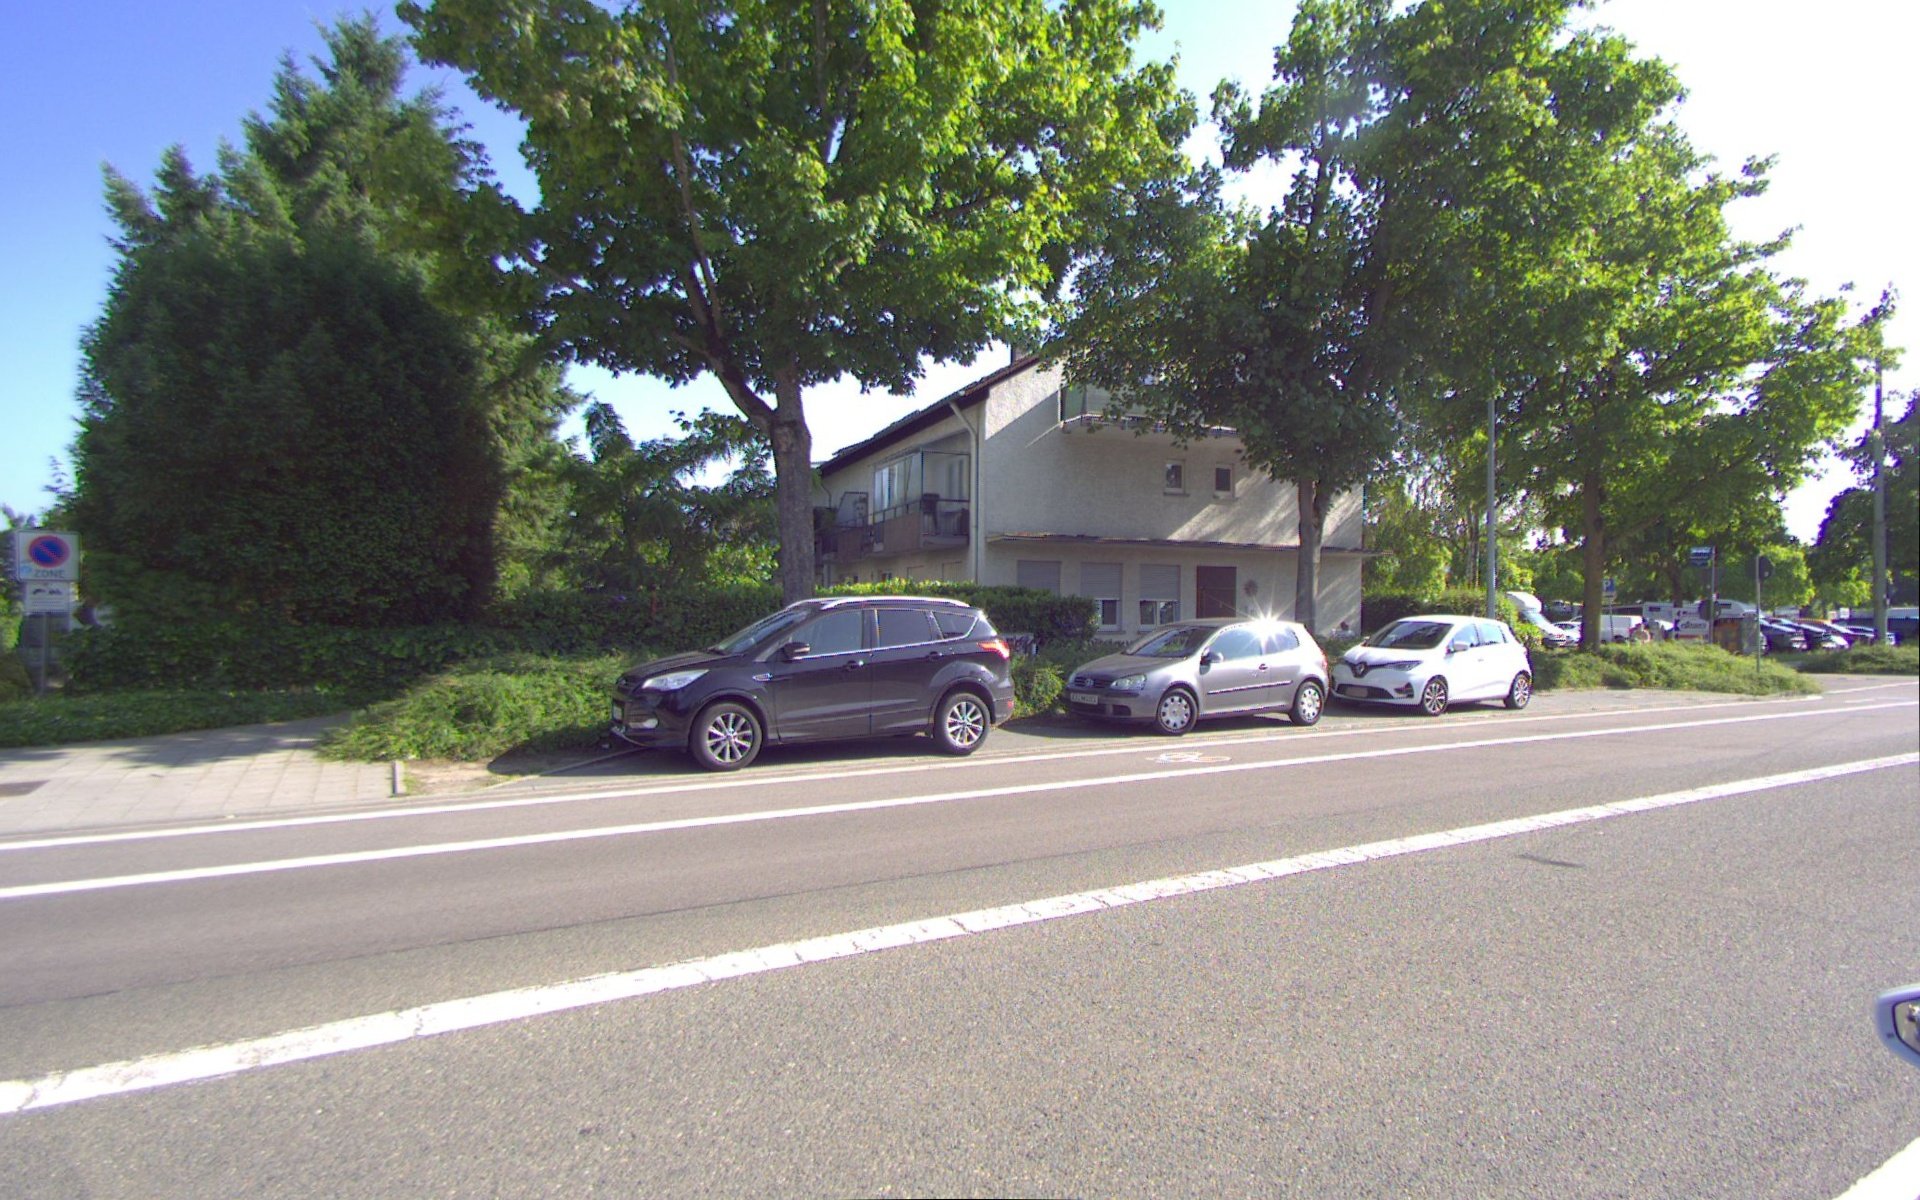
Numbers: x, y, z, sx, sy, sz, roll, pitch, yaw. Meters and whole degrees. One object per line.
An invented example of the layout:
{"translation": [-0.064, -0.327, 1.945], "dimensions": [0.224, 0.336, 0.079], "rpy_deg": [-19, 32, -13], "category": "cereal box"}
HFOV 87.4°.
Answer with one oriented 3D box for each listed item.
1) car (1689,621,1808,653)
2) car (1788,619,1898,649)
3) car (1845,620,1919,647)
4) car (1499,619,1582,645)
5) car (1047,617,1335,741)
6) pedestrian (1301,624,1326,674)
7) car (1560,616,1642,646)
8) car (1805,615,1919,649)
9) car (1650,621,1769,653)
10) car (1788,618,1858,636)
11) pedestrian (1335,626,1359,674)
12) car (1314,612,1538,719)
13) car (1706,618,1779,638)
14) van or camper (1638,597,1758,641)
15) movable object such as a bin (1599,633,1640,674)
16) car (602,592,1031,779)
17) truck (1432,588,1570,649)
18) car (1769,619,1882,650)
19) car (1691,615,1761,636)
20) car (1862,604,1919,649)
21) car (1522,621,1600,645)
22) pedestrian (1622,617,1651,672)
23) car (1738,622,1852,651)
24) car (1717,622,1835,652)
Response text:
{"translation": [35.875, 1.661, 45.811], "dimensions": [1.719, 1.324, 3.964], "rpy_deg": [1, -1, -33], "category": "car"}
{"translation": [45.212, 1.723, 51.502], "dimensions": [1.719, 1.416, 3.964], "rpy_deg": [1, -1, -33], "category": "car"}
{"translation": [51.165, 1.819, 54.861], "dimensions": [1.719, 1.416, 3.964], "rpy_deg": [1, -1, -33], "category": "car"}
{"translation": [34.801, 1.908, 60.283], "dimensions": [1.719, 1.477, 3.964], "rpy_deg": [1, -1, -33], "category": "car"}
{"translation": [3.284, 1.004, 14.039], "dimensions": [3.925, 1.488, 1.667], "rpy_deg": [1, 0, -33], "category": "car"}
{"translation": [8.325, 1.150, 23.671], "dimensions": [0.440, 1.177, 0.345], "rpy_deg": [1, 0, -22], "category": "pedestrian"}
{"translation": [39.491, 1.866, 61.937], "dimensions": [1.611, 1.751, 3.959], "rpy_deg": [1, -1, -36], "category": "car"}
{"translation": [47.381, 1.631, 52.460], "dimensions": [2.026, 1.673, 4.593], "rpy_deg": [1, -1, -31], "category": "car"}
{"translation": [33.569, 1.633, 45.056], "dimensions": [1.719, 1.324, 3.964], "rpy_deg": [1, -1, -33], "category": "car"}
{"translation": [69.056, 2.135, 80.448], "dimensions": [1.719, 1.416, 3.964], "rpy_deg": [1, -1, -33], "category": "car"}
{"translation": [10.181, 1.311, 26.444], "dimensions": [0.385, 1.233, 0.444], "rpy_deg": [0, 0, -22], "category": "pedestrian"}
{"translation": [7.902, 1.026, 16.953], "dimensions": [3.852, 1.571, 1.591], "rpy_deg": [1, 1, -33], "category": "car"}
{"translation": [58.440, 2.065, 75.084], "dimensions": [1.719, 1.416, 3.964], "rpy_deg": [1, -1, -33], "category": "car"}
{"translation": [51.692, 1.283, 70.511], "dimensions": [2.279, 2.906, 6.436], "rpy_deg": [1, 0, -29], "category": "van or camper"}
{"translation": [19.462, 1.559, 29.633], "dimensions": [1.246, 1.161, 0.539], "rpy_deg": [1, -1, -30], "category": "movable object such as a bin"}
{"translation": [-1.503, 0.810, 11.057], "dimensions": [4.370, 1.716, 1.704], "rpy_deg": [1, 0, -30], "category": "car"}
{"translation": [30.661, 1.043, 57.282], "dimensions": [1.965, 3.285, 6.926], "rpy_deg": [1, -1, -31], "category": "truck"}
{"translation": [42.825, 1.682, 49.763], "dimensions": [1.719, 1.416, 3.964], "rpy_deg": [1, -1, -33], "category": "car"}
{"translation": [54.610, 1.801, 71.694], "dimensions": [1.719, 1.416, 3.642], "rpy_deg": [1, -1, -33], "category": "car"}
{"translation": [54.312, 1.482, 56.248], "dimensions": [2.062, 2.456, 5.351], "rpy_deg": [1, -1, -29], "category": "car"}
{"translation": [36.921, 1.991, 61.811], "dimensions": [1.604, 1.379, 3.976], "rpy_deg": [1, -1, -24], "category": "car"}
{"translation": [20.261, 1.325, 30.098], "dimensions": [0.603, 1.649, 0.522], "rpy_deg": [1, 0, -30], "category": "pedestrian"}
{"translation": [40.671, 1.742, 49.019], "dimensions": [1.719, 1.324, 3.964], "rpy_deg": [1, -1, -33], "category": "car"}
{"translation": [38.218, 1.699, 47.123], "dimensions": [1.719, 1.324, 3.964], "rpy_deg": [1, -1, -33], "category": "car"}
